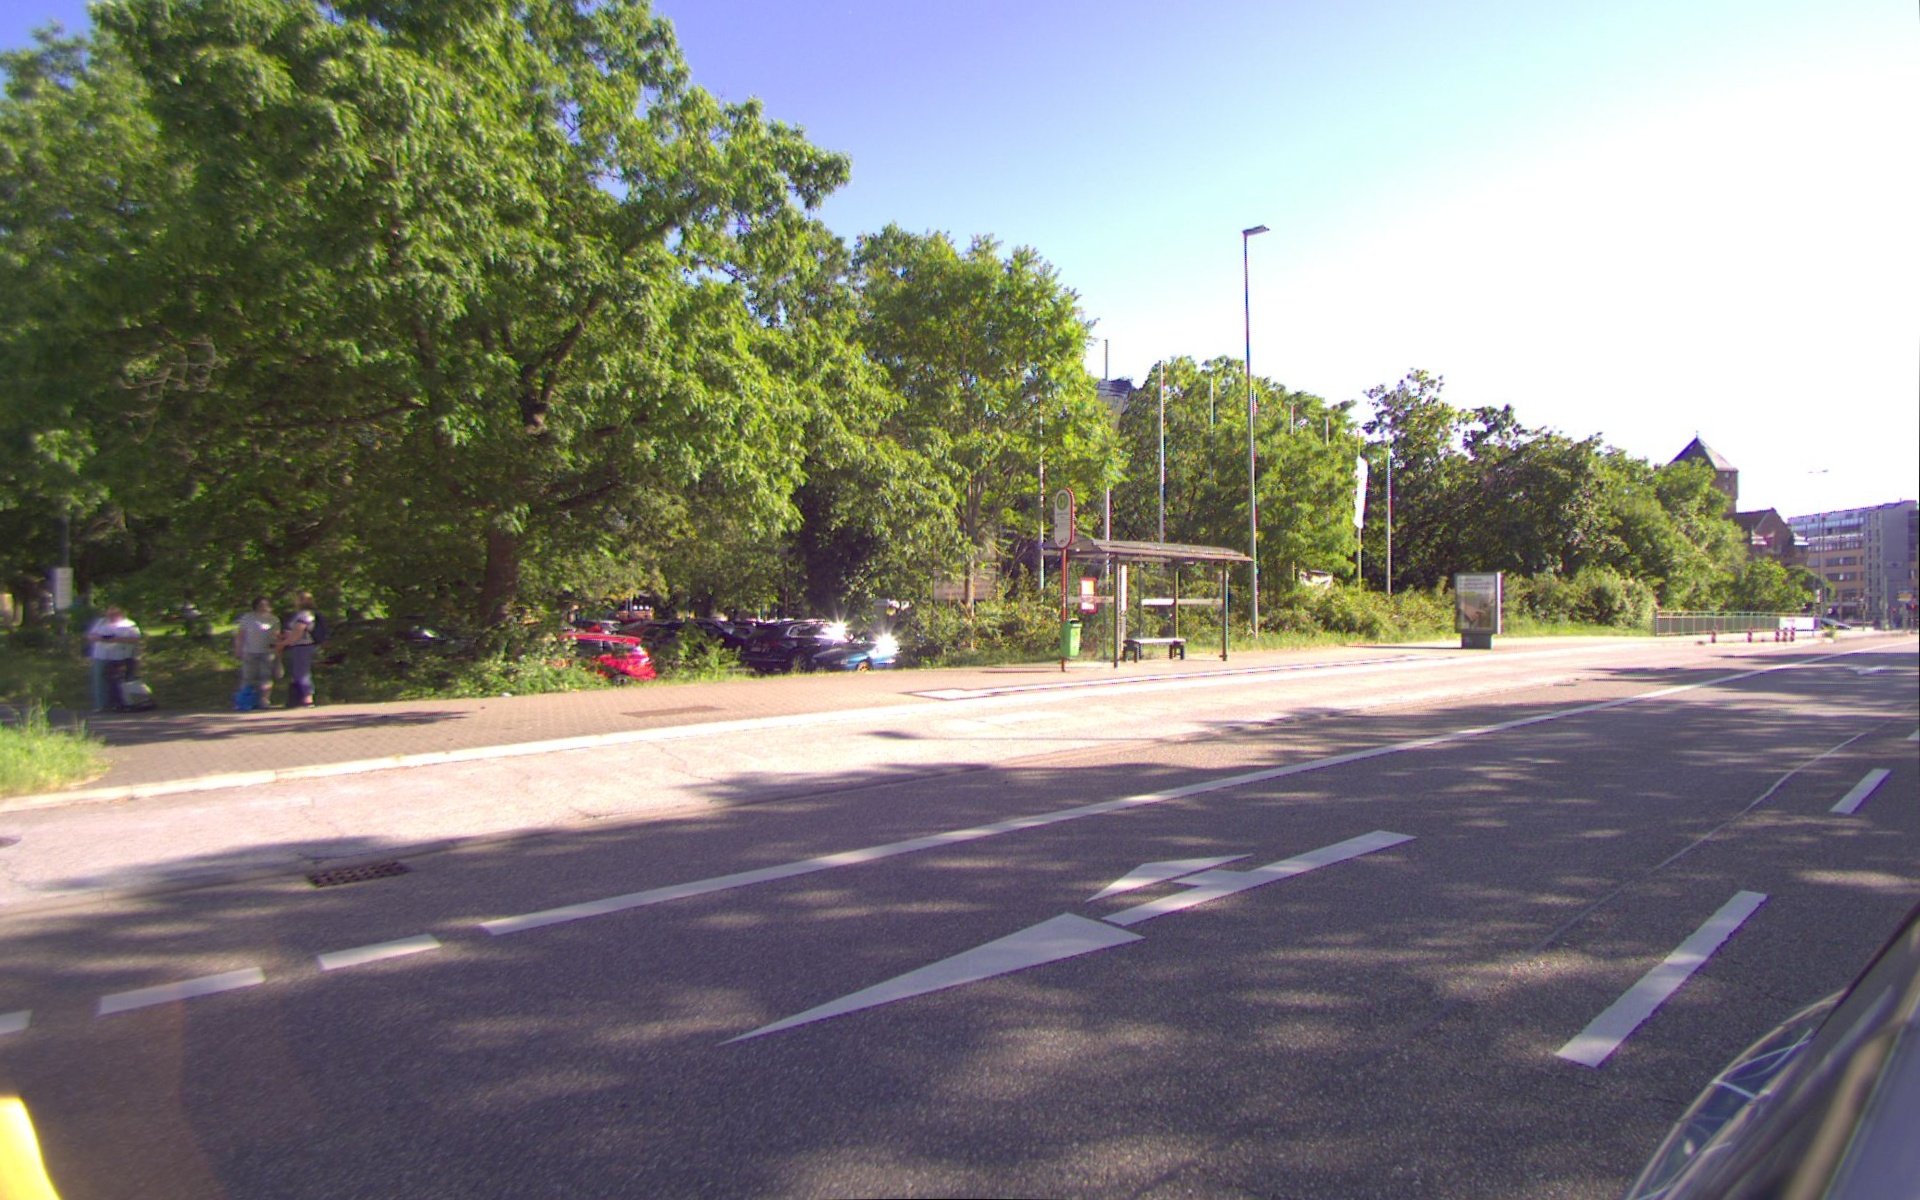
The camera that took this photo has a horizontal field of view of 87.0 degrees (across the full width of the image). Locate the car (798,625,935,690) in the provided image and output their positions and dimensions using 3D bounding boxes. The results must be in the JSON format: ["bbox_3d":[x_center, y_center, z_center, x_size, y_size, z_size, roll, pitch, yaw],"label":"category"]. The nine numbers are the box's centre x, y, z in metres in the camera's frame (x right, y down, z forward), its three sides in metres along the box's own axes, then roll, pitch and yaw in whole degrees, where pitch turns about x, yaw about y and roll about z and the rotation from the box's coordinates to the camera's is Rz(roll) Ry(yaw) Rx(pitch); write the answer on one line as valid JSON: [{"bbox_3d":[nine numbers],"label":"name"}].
[{"bbox_3d":[-2.637,1.579,28.918,3.549,1.658,1.765,0,-1,-40],"label":"car"}]

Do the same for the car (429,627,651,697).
[{"bbox_3d":[-8.253,1.173,20.102,3.846,1.169,1.398,0,-1,-43],"label":"car"}]

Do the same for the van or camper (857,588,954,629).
[{"bbox_3d":[-3.002,0.450,56.486,2.449,2.186,5.246,-1,-1,42],"label":"van or camper"}]

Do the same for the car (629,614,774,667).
[{"bbox_3d":[-9.150,1.485,36.019,4.691,1.773,1.755,3,-4,-39],"label":"car"}]

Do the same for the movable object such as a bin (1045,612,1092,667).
[{"bbox_3d":[2.120,0.762,19.793,0.568,1.043,0.727,1,-1,-42],"label":"movable object such as a bin"}]

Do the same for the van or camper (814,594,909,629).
[{"bbox_3d":[-5.722,0.676,59.068,2.450,1.937,5.243,-1,-1,44],"label":"van or camper"}]

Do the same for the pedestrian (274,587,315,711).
[{"bbox_3d":[-9.471,0.682,14.398,0.403,1.722,0.603,1,-1,-42],"label":"pedestrian"}]

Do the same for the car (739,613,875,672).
[{"bbox_3d":[-4.695,1.286,31.411,3.929,1.685,1.608,0,-2,-40],"label":"car"}]

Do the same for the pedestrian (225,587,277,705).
[{"bbox_3d":[-10.185,0.641,14.534,0.542,1.655,0.623,1,-1,-41],"label":"pedestrian"}]

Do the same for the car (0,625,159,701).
[{"bbox_3d":[-21.396,1.461,23.848,3.928,1.628,1.998,-1,-1,-39],"label":"car"}]

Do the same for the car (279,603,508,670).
[{"bbox_3d":[-14.395,0.972,25.864,4.801,1.558,1.997,3,-4,-39],"label":"car"}]

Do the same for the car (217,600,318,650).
[{"bbox_3d":[-19.783,0.687,28.867,3.638,1.290,1.599,-1,1,43],"label":"car"}]

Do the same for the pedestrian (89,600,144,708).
[{"bbox_3d":[-12.321,0.771,14.798,0.602,1.538,0.528,0,-1,-39],"label":"pedestrian"}]

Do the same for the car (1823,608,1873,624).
[{"bbox_3d":[84.064,1.466,95.844,1.802,1.492,3.984,0,0,12],"label":"car"}]
